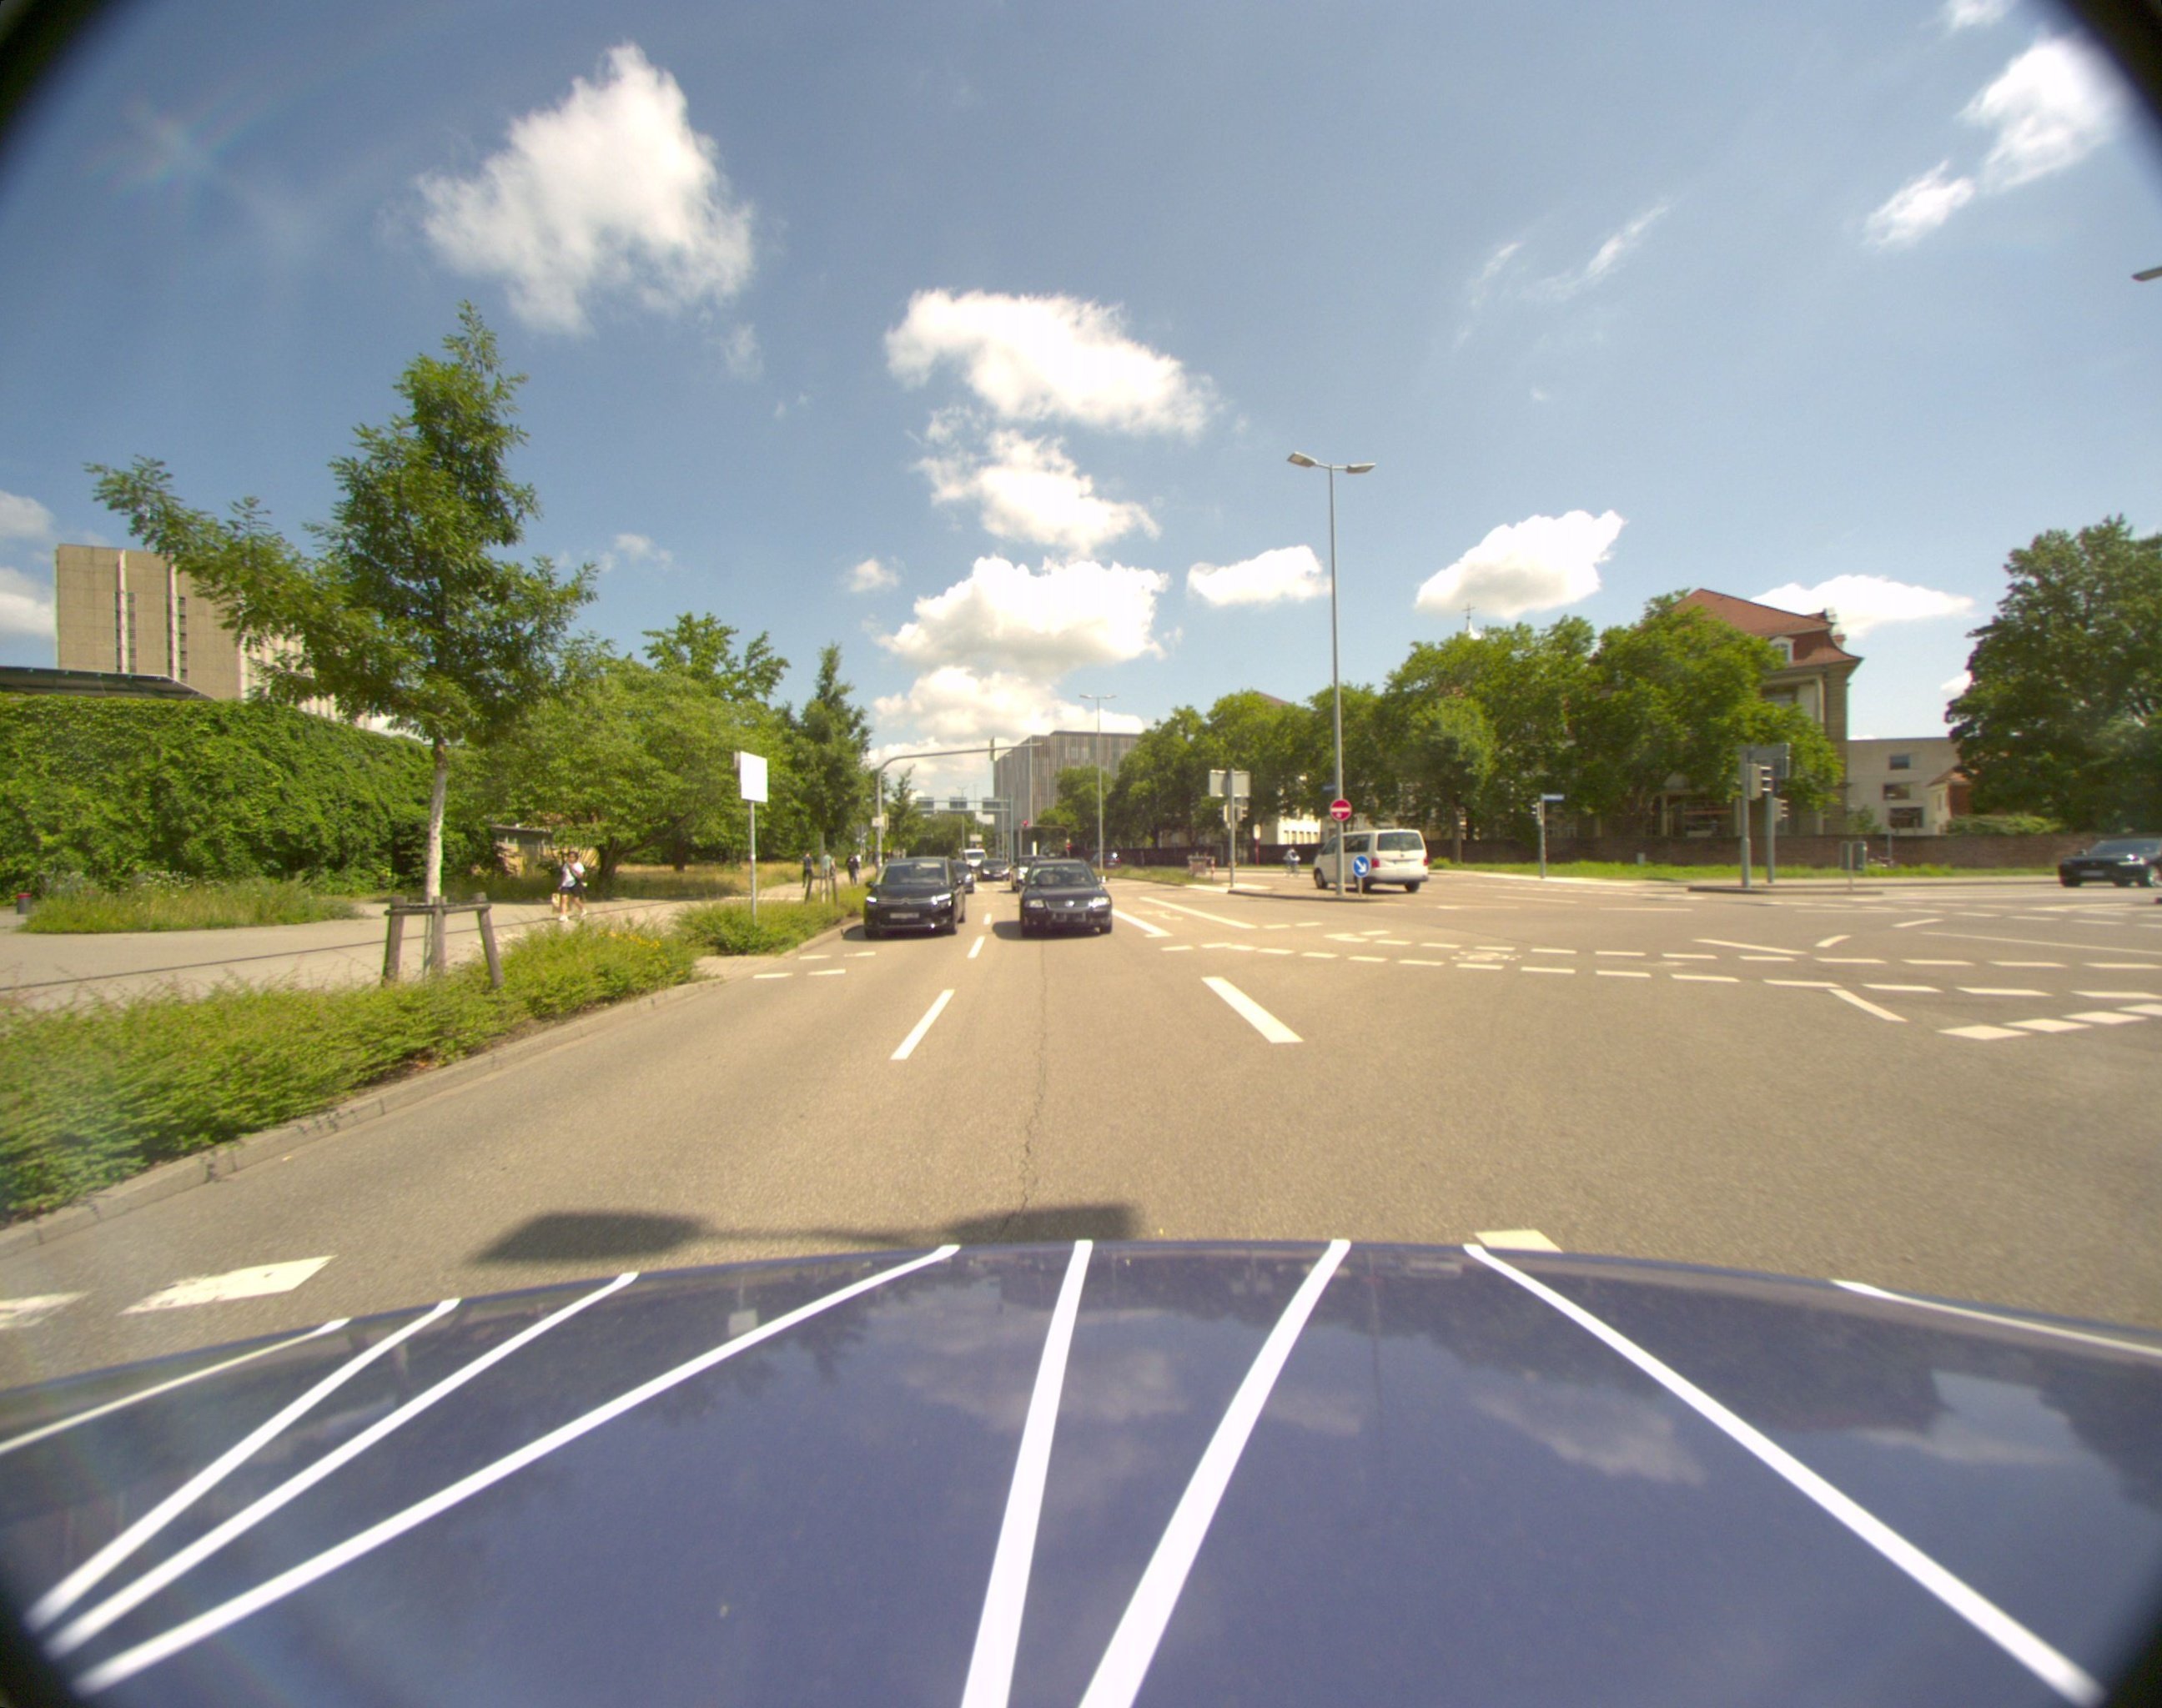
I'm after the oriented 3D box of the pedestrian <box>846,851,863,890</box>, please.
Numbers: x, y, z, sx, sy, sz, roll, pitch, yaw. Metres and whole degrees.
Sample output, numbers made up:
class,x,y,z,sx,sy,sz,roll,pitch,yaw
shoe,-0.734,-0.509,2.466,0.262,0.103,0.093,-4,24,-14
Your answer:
class,x,y,z,sx,sy,sz,roll,pitch,yaw
pedestrian,-10.370,0.742,34.775,0.669,1.739,0.847,1,0,-13

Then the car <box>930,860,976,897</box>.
class,x,y,z,sx,sy,sz,roll,pitch,yaw
car,-5.704,1.023,33.578,1.767,1.409,4.359,-3,0,-12

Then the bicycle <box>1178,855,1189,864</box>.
class,x,y,z,sx,sy,sz,roll,pitch,yaw
bicycle,12.114,0.599,89.581,0.398,1.037,1.580,-1,0,-27

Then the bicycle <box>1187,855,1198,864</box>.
class,x,y,z,sx,sy,sz,roll,pitch,yaw
bicycle,12.910,0.637,88.041,0.398,0.997,1.758,-1,0,-27

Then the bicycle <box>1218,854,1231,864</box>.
class,x,y,z,sx,sy,sz,roll,pitch,yaw
bicycle,15.702,0.575,83.135,0.398,1.037,1.636,-1,1,-32

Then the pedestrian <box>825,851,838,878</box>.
class,x,y,z,sx,sy,sz,roll,pitch,yaw
pedestrian,-15.921,0.667,48.483,0.752,1.739,0.666,1,0,-13

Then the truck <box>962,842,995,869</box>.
class,x,y,z,sx,sy,sz,roll,pitch,yaw
truck,-9.663,0.136,71.203,2.464,2.287,5.809,-3,0,-12

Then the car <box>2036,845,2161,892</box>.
class,x,y,z,sx,sy,sz,roll,pitch,yaw
car,35.363,0.451,25.759,4.512,1.477,1.998,0,0,-14

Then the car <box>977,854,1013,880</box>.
class,x,y,z,sx,sy,sz,roll,pitch,yaw
car,-5.563,0.805,48.726,1.753,1.496,4.515,-3,0,-12

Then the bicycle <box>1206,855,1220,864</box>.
class,x,y,z,sx,sy,sz,roll,pitch,yaw
bicycle,14.709,0.580,84.728,0.398,1.037,1.953,-1,0,-30

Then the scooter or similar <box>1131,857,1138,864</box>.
class,x,y,z,sx,sy,sz,roll,pitch,yaw
scooter or similar,6.945,0.824,98.742,0.353,0.838,1.067,-1,1,-26

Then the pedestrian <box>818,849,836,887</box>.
class,x,y,z,sx,sy,sz,roll,pitch,yaw
pedestrian,-11.935,0.651,35.716,0.753,1.767,0.880,1,0,-19

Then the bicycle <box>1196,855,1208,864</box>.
class,x,y,z,sx,sy,sz,roll,pitch,yaw
bicycle,13.760,0.596,86.431,0.398,1.037,1.758,-1,0,-29

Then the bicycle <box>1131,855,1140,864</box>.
class,x,y,z,sx,sy,sz,roll,pitch,yaw
bicycle,7.139,0.719,100.054,0.383,1.101,1.667,-1,0,-25

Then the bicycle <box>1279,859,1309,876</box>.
class,x,y,z,sx,sy,sz,roll,pitch,yaw
bicycle,12.016,0.745,42.950,0.779,0.884,2.106,-1,0,-10

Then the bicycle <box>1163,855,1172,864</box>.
class,x,y,z,sx,sy,sz,roll,pitch,yaw
bicycle,10.521,0.655,92.647,0.378,1.037,1.413,-1,1,-27

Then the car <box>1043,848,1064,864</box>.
class,x,y,z,sx,sy,sz,roll,pitch,yaw
car,-3.733,0.313,102.908,2.216,2.158,4.516,0,0,-11

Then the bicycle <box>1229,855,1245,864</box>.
class,x,y,z,sx,sy,sz,roll,pitch,yaw
bicycle,16.715,0.579,81.526,0.398,1.037,1.953,-1,1,-32

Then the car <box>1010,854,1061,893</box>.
class,x,y,z,sx,sy,sz,roll,pitch,yaw
car,-2.050,0.800,33.370,1.753,1.496,4.516,-3,0,-9

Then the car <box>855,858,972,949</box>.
class,x,y,z,sx,sy,sz,roll,pitch,yaw
car,-3.495,0.947,16.648,1.863,1.613,4.518,-3,0,-5

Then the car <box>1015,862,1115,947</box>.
class,x,y,z,sx,sy,sz,roll,pitch,yaw
car,-0.398,0.922,15.795,1.752,1.426,4.519,-1,0,-3

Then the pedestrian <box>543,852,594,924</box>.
class,x,y,z,sx,sy,sz,roll,pitch,yaw
pedestrian,-11.662,0.751,17.317,0.753,1.587,0.880,1,0,-21

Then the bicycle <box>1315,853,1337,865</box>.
class,x,y,z,sx,sy,sz,roll,pitch,yaw
bicycle,23.186,0.462,71.949,0.399,1.130,2.033,-1,1,-37

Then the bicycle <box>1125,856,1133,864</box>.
class,x,y,z,sx,sy,sz,roll,pitch,yaw
bicycle,6.441,0.756,101.604,0.383,1.101,1.667,-1,0,-24

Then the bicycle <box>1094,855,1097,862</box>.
class,x,y,z,sx,sy,sz,roll,pitch,yaw
bicycle,2.162,0.601,111.994,0.329,1.012,1.671,-1,0,8

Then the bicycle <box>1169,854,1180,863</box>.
class,x,y,z,sx,sy,sz,roll,pitch,yaw
bicycle,11.258,0.576,91.207,0.398,1.037,1.758,-1,0,-27

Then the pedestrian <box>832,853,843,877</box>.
class,x,y,z,sx,sy,sz,roll,pitch,yaw
pedestrian,-17.280,0.778,53.938,0.669,1.739,0.877,1,0,-13

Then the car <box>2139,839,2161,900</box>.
class,x,y,z,sx,sy,sz,roll,pitch,yaw
car,28.434,0.359,18.370,4.672,1.477,1.997,0,0,-18

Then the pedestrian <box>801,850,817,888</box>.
class,x,y,z,sx,sy,sz,roll,pitch,yaw
pedestrian,-12.642,0.683,35.287,0.669,1.736,0.608,1,0,-19

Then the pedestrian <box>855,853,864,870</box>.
class,x,y,z,sx,sy,sz,roll,pitch,yaw
pedestrian,-23.069,0.801,79.138,0.845,1.755,0.840,-2,2,-13

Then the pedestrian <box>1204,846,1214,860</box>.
class,x,y,z,sx,sy,sz,roll,pitch,yaw
pedestrian,14.023,-0.116,83.019,0.724,1.602,0.779,-1,1,-42

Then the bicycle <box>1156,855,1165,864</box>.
class,x,y,z,sx,sy,sz,roll,pitch,yaw
bicycle,9.847,0.658,94.045,0.383,1.037,1.667,-1,0,-25

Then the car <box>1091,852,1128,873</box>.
class,x,y,z,sx,sy,sz,roll,pitch,yaw
car,2.323,0.681,62.684,1.888,1.614,4.150,-2,0,-14

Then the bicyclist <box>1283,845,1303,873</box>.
class,x,y,z,sx,sy,sz,roll,pitch,yaw
bicyclist,12.005,0.284,42.976,0.779,1.609,0.842,-1,0,-10

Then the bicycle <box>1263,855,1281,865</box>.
class,x,y,z,sx,sy,sz,roll,pitch,yaw
bicycle,19.363,0.615,77.104,0.398,1.037,1.953,-1,1,-32

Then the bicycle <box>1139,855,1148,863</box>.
class,x,y,z,sx,sy,sz,roll,pitch,yaw
bicycle,8.048,0.624,97.610,0.383,1.037,1.667,-1,0,-25

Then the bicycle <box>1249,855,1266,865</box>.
class,x,y,z,sx,sy,sz,roll,pitch,yaw
bicycle,18.293,0.622,78.830,0.398,1.037,1.953,-1,1,-32

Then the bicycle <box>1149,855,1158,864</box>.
class,x,y,z,sx,sy,sz,roll,pitch,yaw
bicycle,9.119,0.669,95.655,0.383,1.037,1.667,-1,0,-25

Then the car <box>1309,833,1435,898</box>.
class,x,y,z,sx,sy,sz,roll,pitch,yaw
car,9.407,0.348,25.060,1.887,1.883,4.867,-1,0,-6
